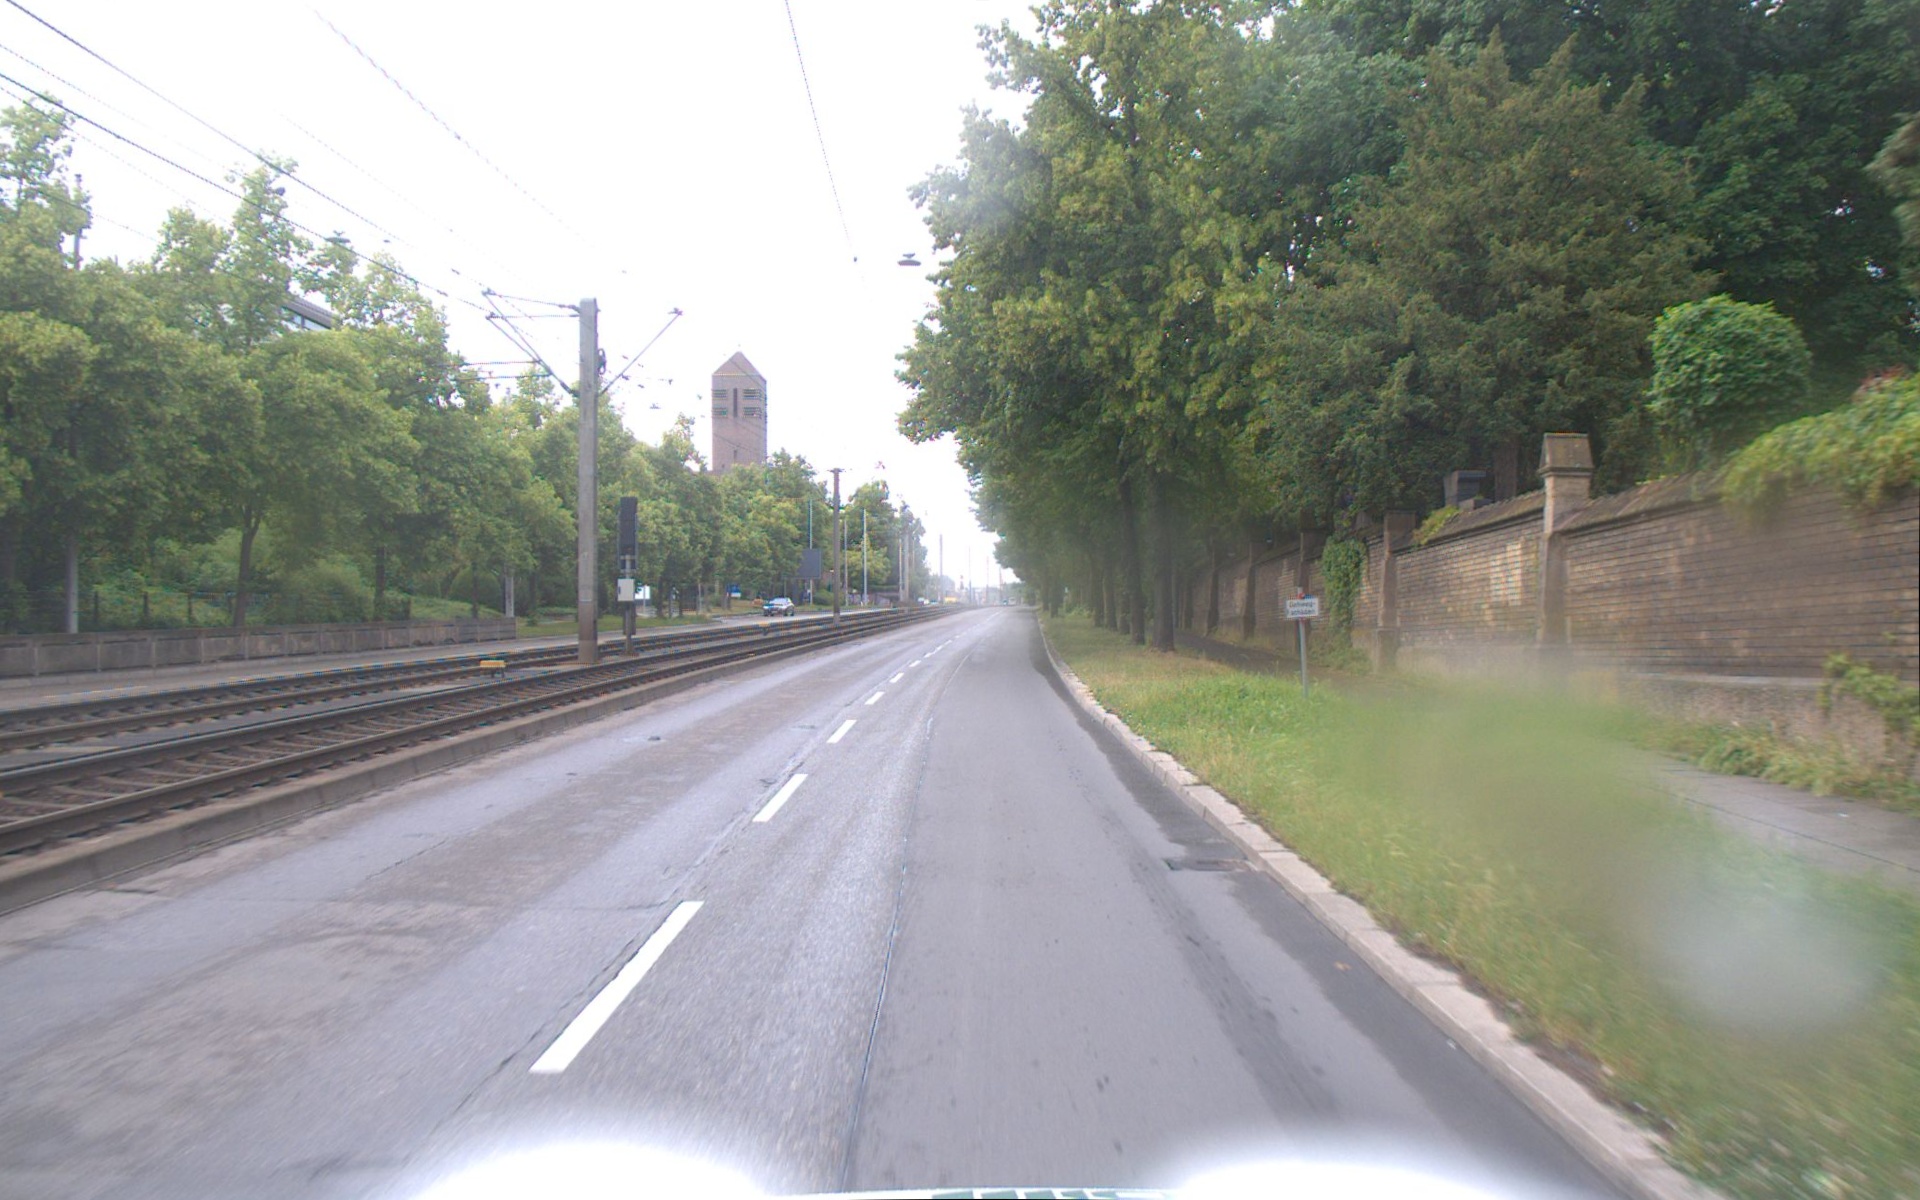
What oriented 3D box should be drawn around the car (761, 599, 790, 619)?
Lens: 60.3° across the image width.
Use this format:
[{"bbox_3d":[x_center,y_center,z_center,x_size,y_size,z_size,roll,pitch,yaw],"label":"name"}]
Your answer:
[{"bbox_3d":[-14.842,0.729,133.341,1.757,1.557,4.623,0,0,1],"label":"car"}]
